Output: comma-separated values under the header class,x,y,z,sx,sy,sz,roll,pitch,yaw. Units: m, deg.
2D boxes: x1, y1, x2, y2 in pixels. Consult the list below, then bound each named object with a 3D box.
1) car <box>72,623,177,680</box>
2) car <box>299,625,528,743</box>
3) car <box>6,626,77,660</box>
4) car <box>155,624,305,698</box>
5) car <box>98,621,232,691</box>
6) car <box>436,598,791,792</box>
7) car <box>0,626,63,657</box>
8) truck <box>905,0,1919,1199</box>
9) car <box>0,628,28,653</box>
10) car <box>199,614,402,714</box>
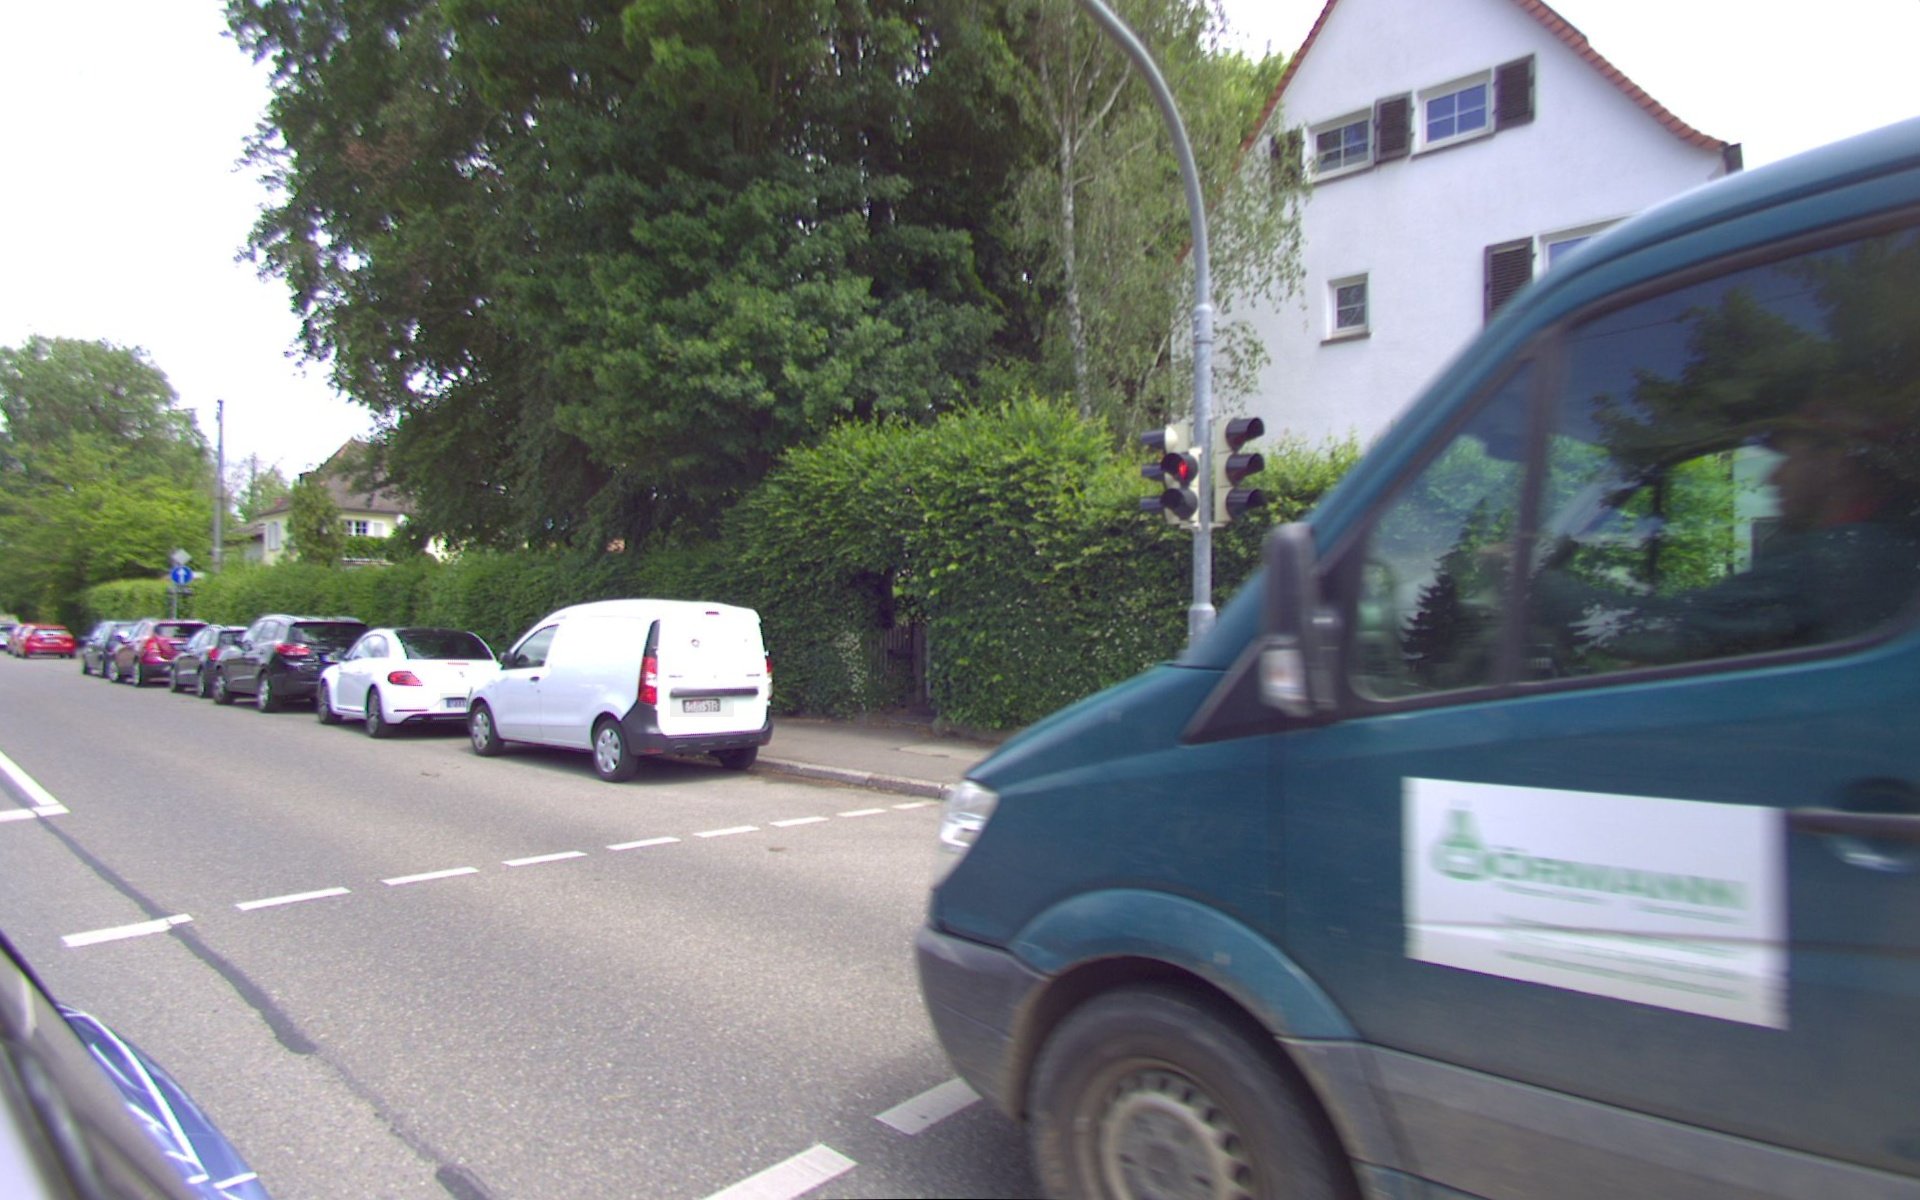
class,x,y,z,sx,sy,sz,roll,pitch,yaw
car,-24.520,1.463,29.648,4.327,1.546,1.738,-1,-3,42
car,-8.086,1.140,14.787,4.359,1.464,1.685,-2,-5,45
car,-39.973,1.824,44.027,4.065,1.413,1.945,-1,-2,43
car,-15.987,1.267,22.100,4.234,1.470,1.715,-1,-2,41
car,-20.274,1.358,25.750,4.412,1.623,1.772,-1,-2,40
car,-4.058,0.943,11.421,4.604,1.772,1.659,-1,-3,41
car,-44.755,1.972,48.743,3.747,1.461,1.829,-1,-2,41
truck,3.161,0.244,0.986,6.902,2.390,2.165,-1,-3,42
car,-53.978,2.299,57.369,1.652,1.381,3.610,3,-3,-43
car,-12.185,1.088,18.576,4.640,1.606,1.877,-1,-2,40
